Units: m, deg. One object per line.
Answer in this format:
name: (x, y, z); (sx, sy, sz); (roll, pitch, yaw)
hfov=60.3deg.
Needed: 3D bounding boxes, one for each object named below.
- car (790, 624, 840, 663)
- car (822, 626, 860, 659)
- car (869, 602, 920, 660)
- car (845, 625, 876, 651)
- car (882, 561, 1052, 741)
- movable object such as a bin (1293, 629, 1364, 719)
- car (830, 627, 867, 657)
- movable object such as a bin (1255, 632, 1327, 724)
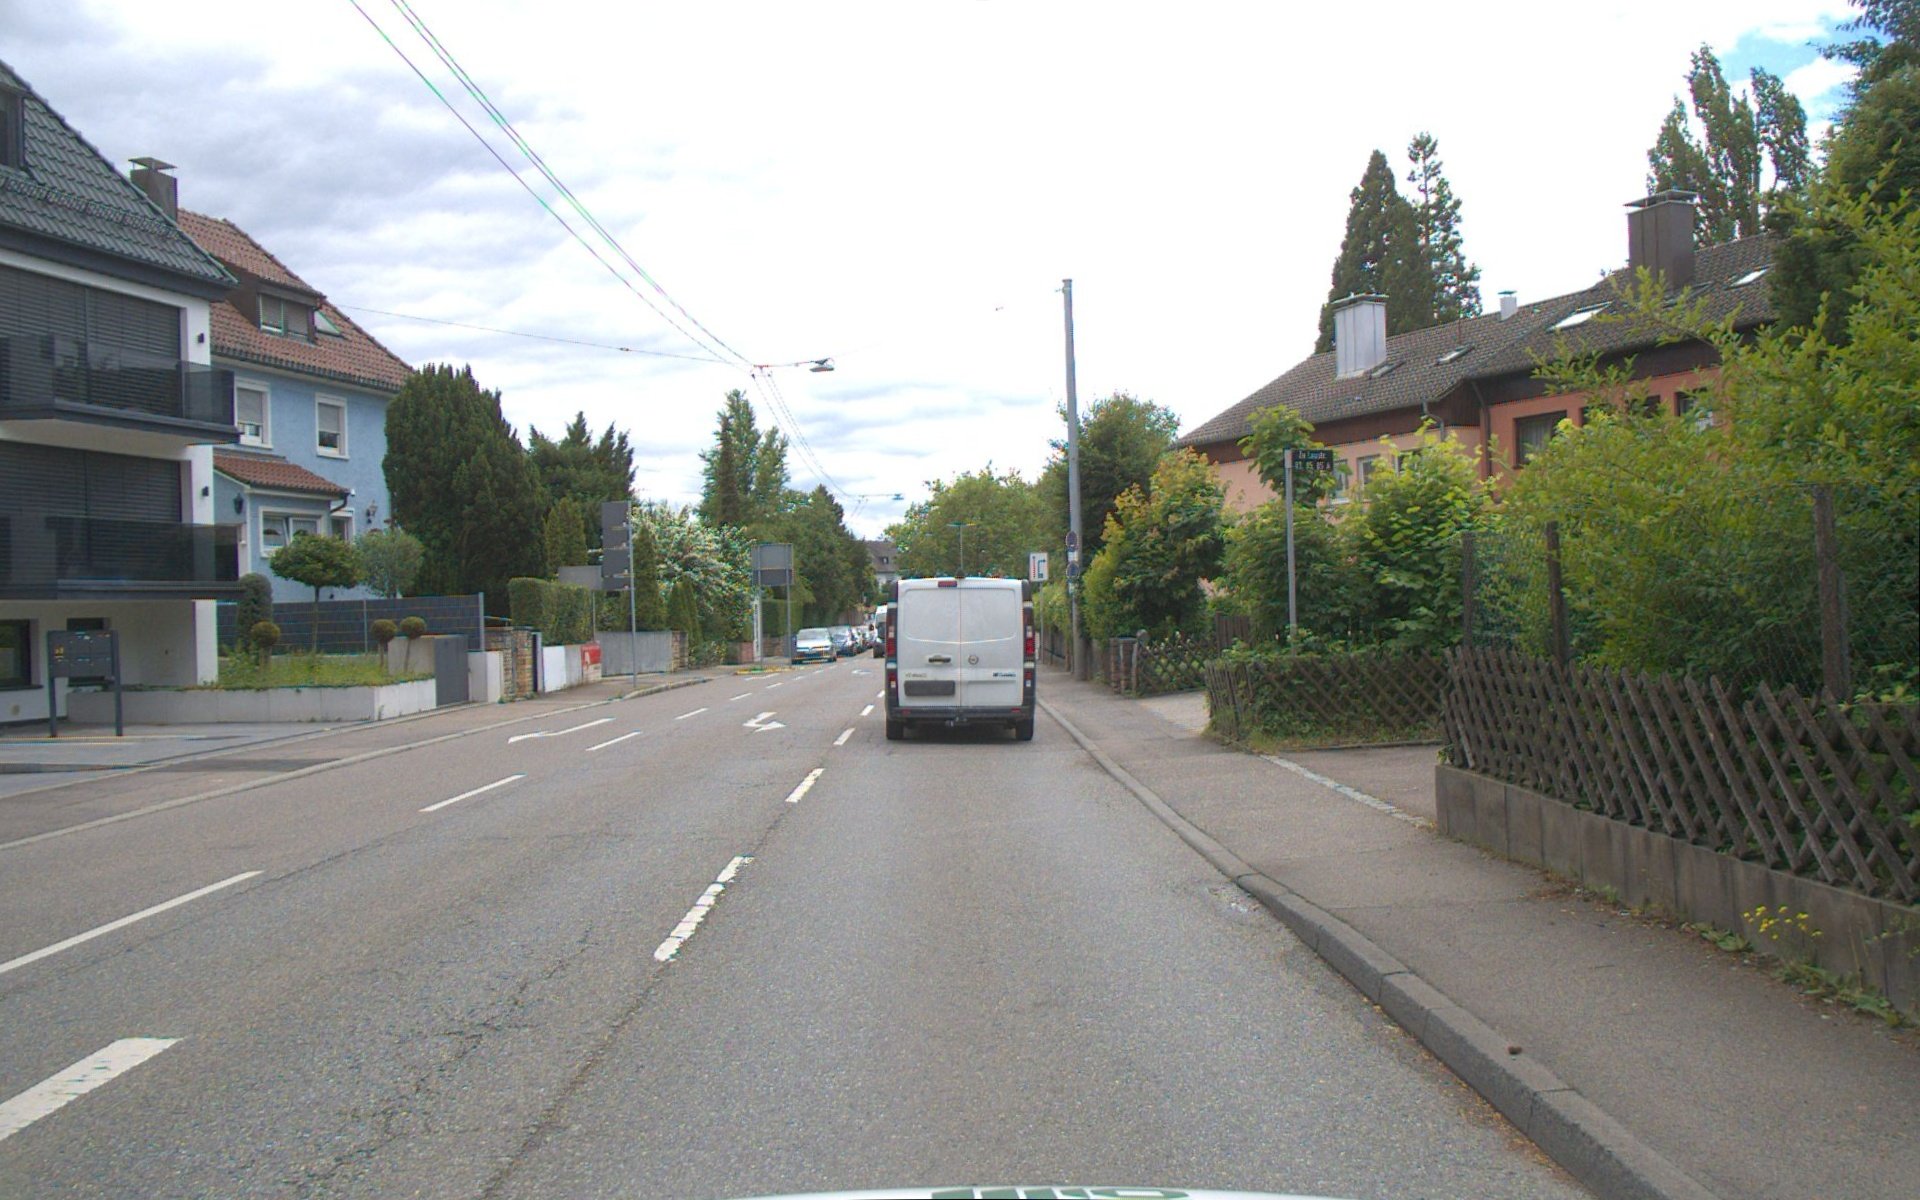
car: (-6.193, 1.832, 70.850); (1.773, 1.480, 4.412); (-4, -1, -1)
car: (-6.136, 2.192, 85.585); (1.644, 1.583, 3.970); (-3, -1, 0)
car: (-3.107, 1.428, 79.260); (2.068, 2.542, 6.125); (-2, 0, 0)
car: (-6.288, 2.416, 105.303); (1.635, 1.514, 4.430); (-3, -1, 0)
car: (0.036, 0.620, 21.779); (1.965, 2.073, 5.008); (1, -1, -1)
movable object such as a bin: (4.194, 0.832, 18.864); (0.439, 0.972, 0.683); (-5, 0, -17)
car: (-6.280, 2.336, 93.556); (1.851, 1.520, 4.026); (-3, -1, -1)
movable object such as a bin: (3.738, 0.872, 18.690); (0.440, 0.972, 0.682); (-5, 0, -21)
